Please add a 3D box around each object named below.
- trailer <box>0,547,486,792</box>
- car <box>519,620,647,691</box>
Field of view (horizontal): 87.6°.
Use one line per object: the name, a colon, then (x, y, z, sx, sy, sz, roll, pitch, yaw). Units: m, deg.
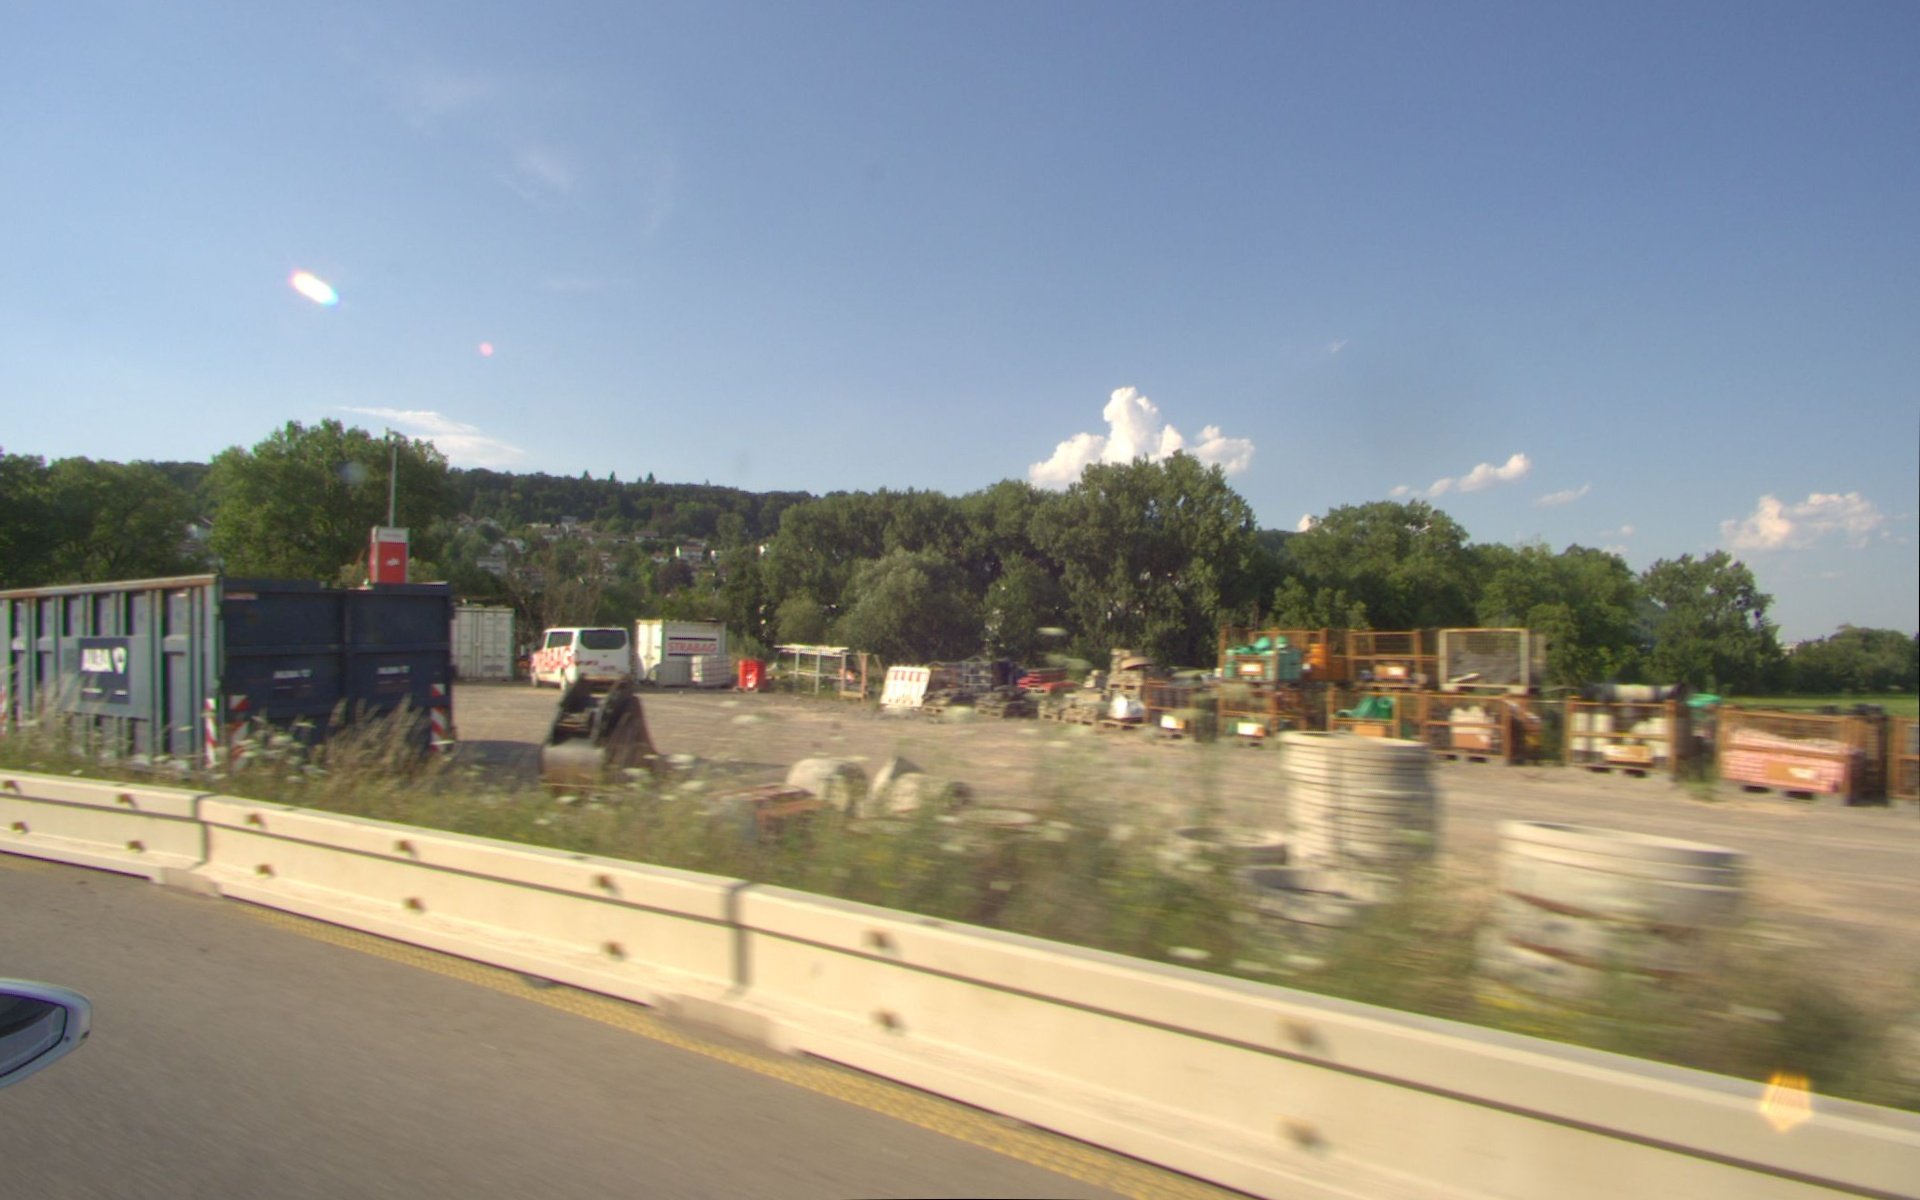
trailer: (-9.781, 0.837, 13.147, 7.124, 2.444, 3.001, -1, -3, 31)
car: (-12.341, 1.757, 32.553, 2.458, 2.105, 5.280, 1, -3, -38)
